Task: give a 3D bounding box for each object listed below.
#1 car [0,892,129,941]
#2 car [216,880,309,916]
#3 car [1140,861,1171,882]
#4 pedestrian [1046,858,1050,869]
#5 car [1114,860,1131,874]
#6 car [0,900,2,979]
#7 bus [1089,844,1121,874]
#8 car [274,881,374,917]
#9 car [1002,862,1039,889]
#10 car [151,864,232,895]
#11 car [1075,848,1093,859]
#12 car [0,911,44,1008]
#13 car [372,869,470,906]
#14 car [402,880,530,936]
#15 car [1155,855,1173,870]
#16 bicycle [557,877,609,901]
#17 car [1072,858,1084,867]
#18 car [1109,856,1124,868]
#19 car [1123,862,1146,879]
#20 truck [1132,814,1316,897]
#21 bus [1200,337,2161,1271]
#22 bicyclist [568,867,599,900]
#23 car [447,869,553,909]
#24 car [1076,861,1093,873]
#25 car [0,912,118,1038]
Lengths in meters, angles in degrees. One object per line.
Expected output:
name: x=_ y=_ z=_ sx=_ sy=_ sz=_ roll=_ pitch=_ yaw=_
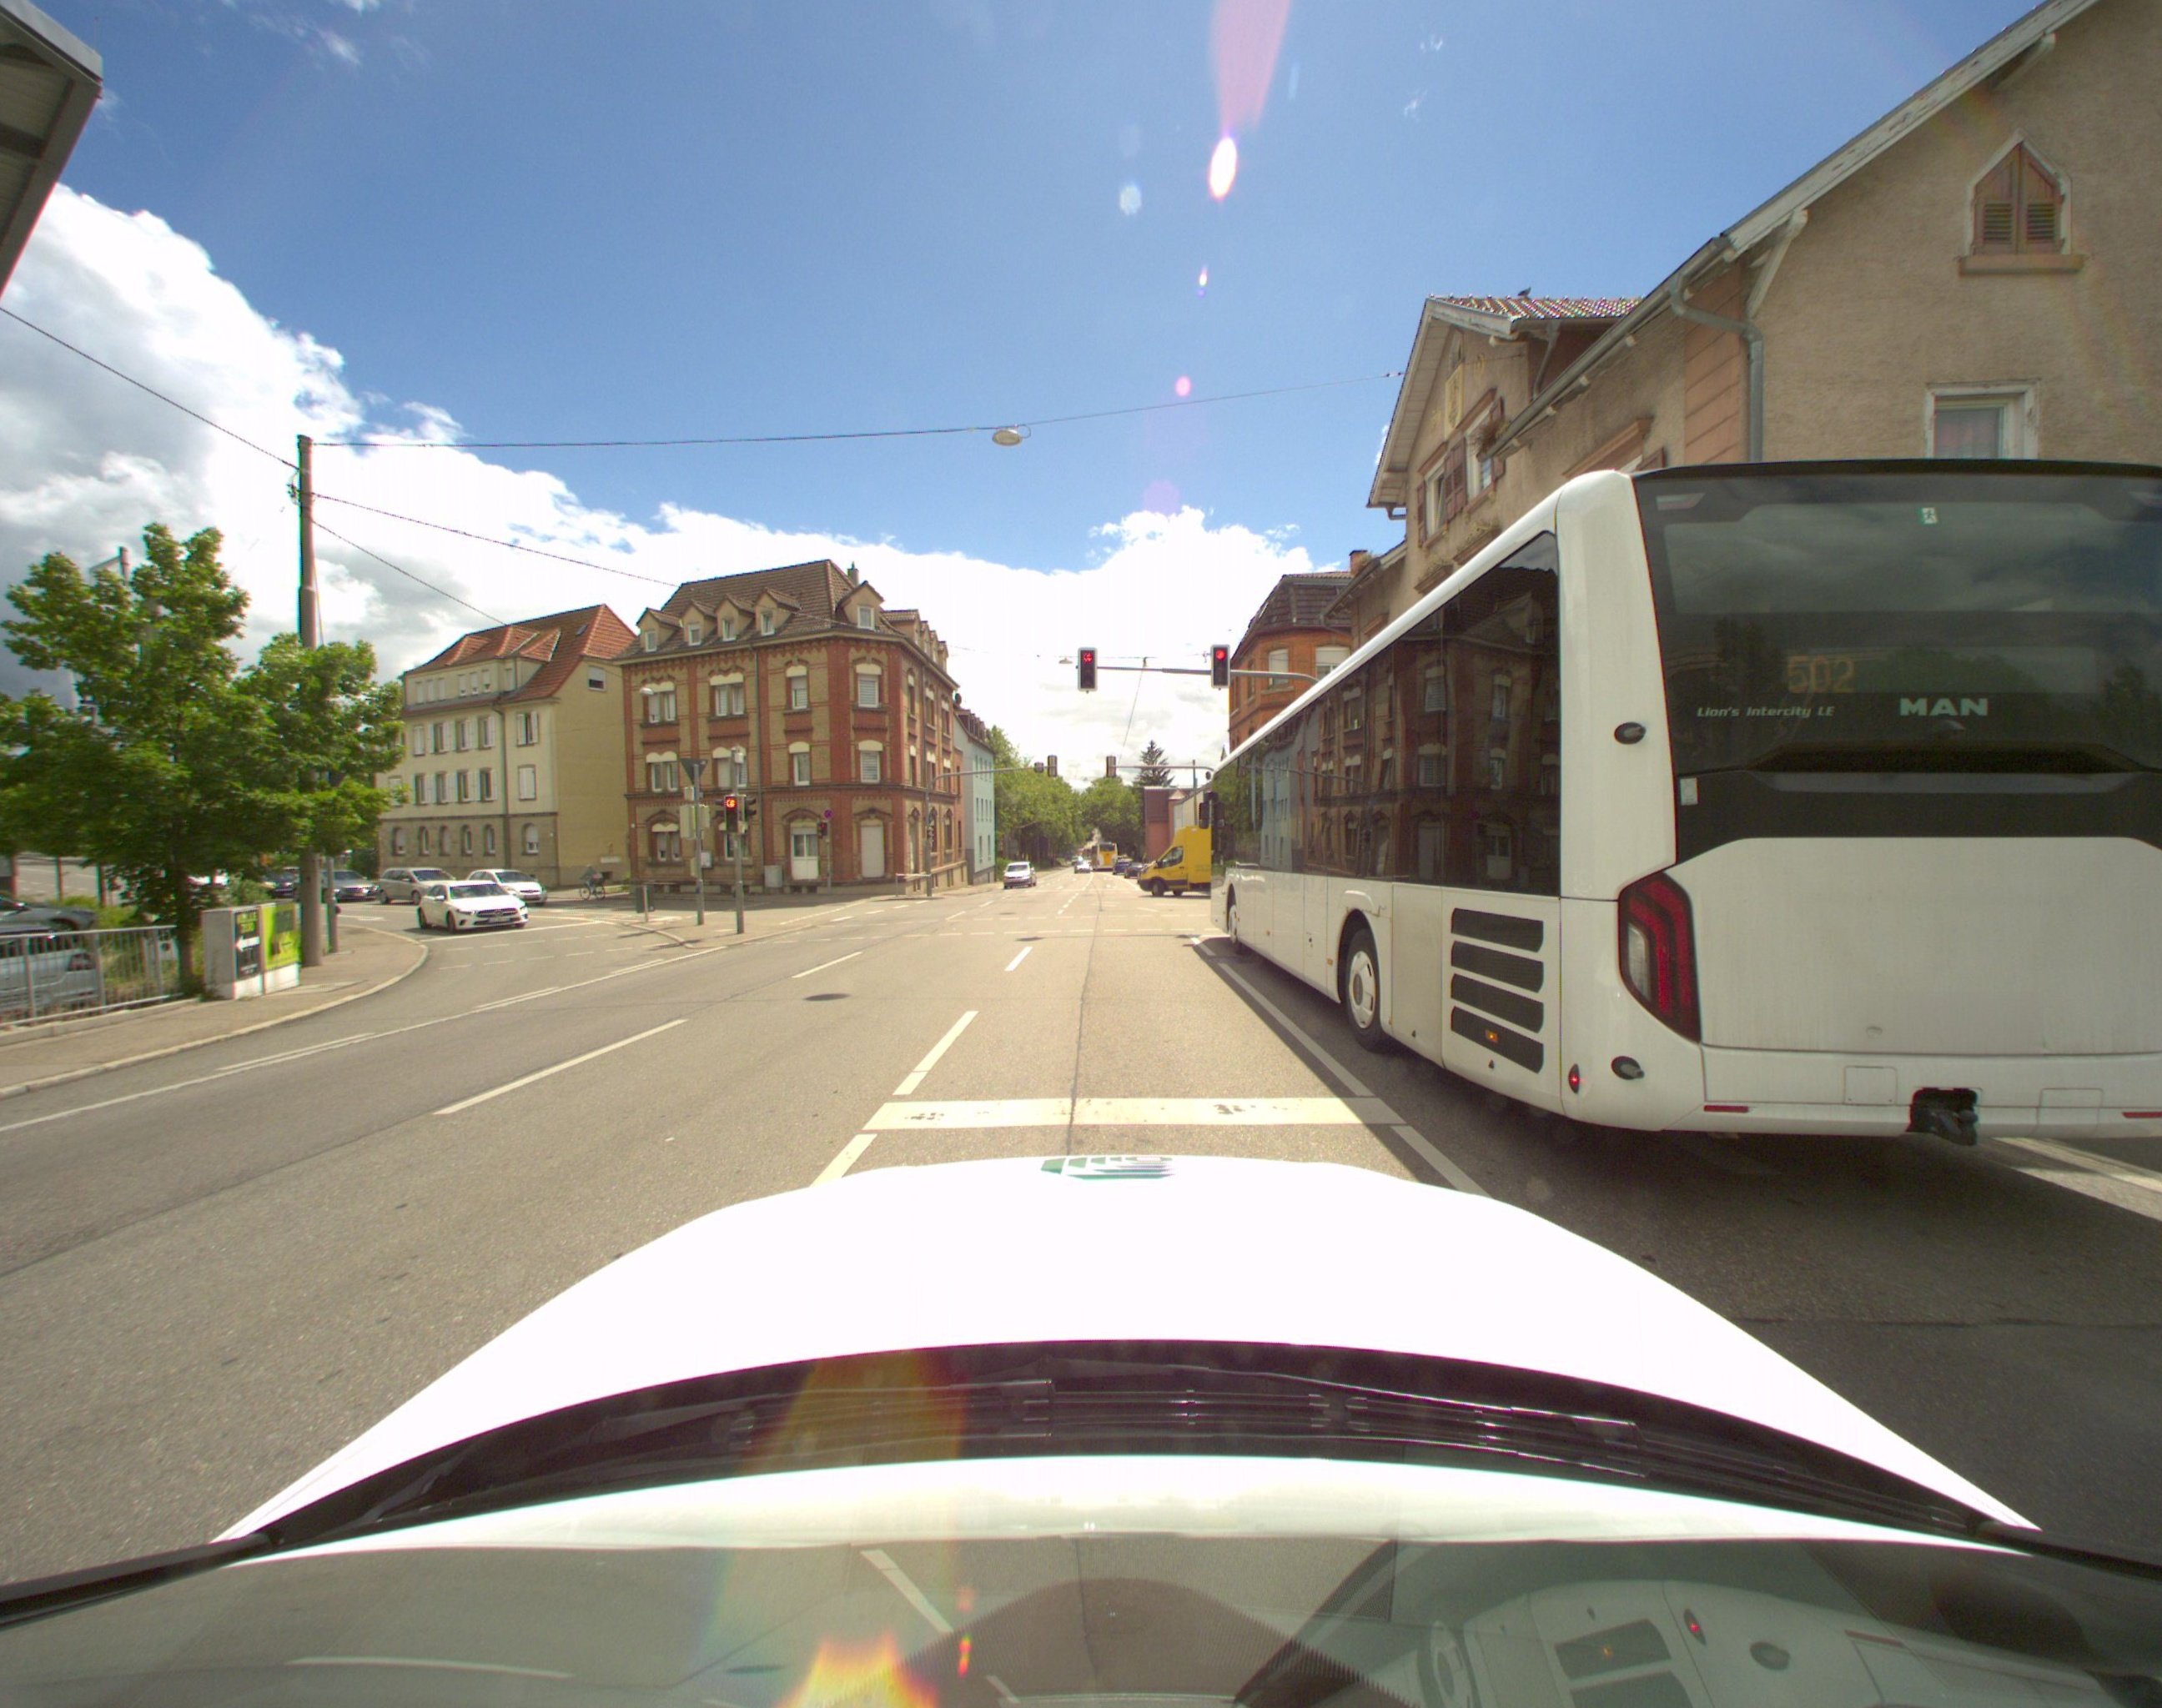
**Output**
car: x=-29.258 y=1.731 z=22.224 sx=1.795 sy=1.186 sz=4.025 roll=-1 pitch=0 yaw=31
car: x=-41.341 y=2.222 z=41.141 sx=3.951 sy=1.642 sz=2.011 roll=-2 pitch=0 yaw=24
car: x=4.985 y=1.152 z=54.892 sx=1.791 sy=1.276 sz=4.002 roll=-2 pitch=0 yaw=2
pedestrian: x=-5.527 y=1.637 z=136.894 sx=0.604 sy=1.758 sz=0.653 roll=-2 pitch=0 yaw=0
car: x=4.213 y=1.321 z=82.649 sx=1.602 sy=1.376 sz=4.002 roll=-2 pitch=0 yaw=2
car: x=-23.409 y=1.737 z=16.441 sx=3.371 sy=1.575 sz=1.526 roll=-1 pitch=0 yaw=30
bus: x=2.991 y=0.657 z=106.578 sx=3.292 sy=3.631 sz=11.233 roll=-2 pitch=0 yaw=-2
car: x=-35.455 y=2.079 z=38.151 sx=3.951 sy=1.519 sz=2.011 roll=-1 pitch=0 yaw=24
car: x=-3.944 y=1.387 z=53.700 sx=1.928 sy=1.563 sz=4.390 roll=-2 pitch=0 yaw=2
car: x=-48.874 y=1.382 z=44.715 sx=4.291 sy=1.586 sz=2.012 roll=-1 pitch=0 yaw=29
car: x=0.852 y=-0.199 z=241.951 sx=2.120 sy=3.070 sz=5.661 roll=-1 pitch=-1 yaw=40
car: x=-19.717 y=1.833 z=14.161 sx=3.744 sy=1.523 sz=1.526 roll=-1 pitch=0 yaw=30
car: x=-29.211 y=1.470 z=36.058 sx=3.951 sy=1.519 sz=1.757 roll=-1 pitch=0 yaw=24
car: x=-18.292 y=1.541 z=24.171 sx=4.334 sy=1.447 sz=1.875 roll=-2 pitch=0 yaw=37
car: x=9.484 y=0.941 z=93.132 sx=1.760 sy=1.665 sz=4.002 roll=-2 pitch=0 yaw=2
bicycle: x=-23.259 y=1.633 z=38.029 sx=2.172 sy=1.019 sz=0.608 roll=-2 pitch=0 yaw=9
car: x=-0.569 y=1.643 z=155.180 sx=2.199 sy=1.613 sz=4.549 roll=-2 pitch=0 yaw=2
car: x=5.615 y=1.273 z=129.157 sx=2.086 sy=1.830 sz=4.140 roll=-1 pitch=0 yaw=-1
car: x=4.660 y=1.390 z=71.575 sx=1.858 sy=1.367 sz=4.549 roll=-2 pitch=0 yaw=2
truck: x=5.462 y=0.089 z=31.445 sx=6.488 sy=2.913 sz=2.565 roll=-1 pitch=-1 yaw=30
bus: x=3.534 y=-0.146 z=9.311 sx=2.893 sy=3.510 sz=12.492 roll=0 pitch=-1 yaw=2
bicyclist: x=-23.243 y=1.371 z=38.025 sx=1.065 sy=1.499 sz=0.592 roll=-2 pitch=0 yaw=10
car: x=-23.603 y=1.393 z=33.071 sx=3.951 sy=1.497 sz=1.711 roll=-1 pitch=0 yaw=24
car: x=0.447 y=1.575 z=98.083 sx=1.858 sy=1.367 sz=4.549 roll=-2 pitch=0 yaw=2
car: x=-16.122 y=1.741 z=12.191 sx=3.638 sy=1.575 sz=1.766 roll=-1 pitch=-2 yaw=34
